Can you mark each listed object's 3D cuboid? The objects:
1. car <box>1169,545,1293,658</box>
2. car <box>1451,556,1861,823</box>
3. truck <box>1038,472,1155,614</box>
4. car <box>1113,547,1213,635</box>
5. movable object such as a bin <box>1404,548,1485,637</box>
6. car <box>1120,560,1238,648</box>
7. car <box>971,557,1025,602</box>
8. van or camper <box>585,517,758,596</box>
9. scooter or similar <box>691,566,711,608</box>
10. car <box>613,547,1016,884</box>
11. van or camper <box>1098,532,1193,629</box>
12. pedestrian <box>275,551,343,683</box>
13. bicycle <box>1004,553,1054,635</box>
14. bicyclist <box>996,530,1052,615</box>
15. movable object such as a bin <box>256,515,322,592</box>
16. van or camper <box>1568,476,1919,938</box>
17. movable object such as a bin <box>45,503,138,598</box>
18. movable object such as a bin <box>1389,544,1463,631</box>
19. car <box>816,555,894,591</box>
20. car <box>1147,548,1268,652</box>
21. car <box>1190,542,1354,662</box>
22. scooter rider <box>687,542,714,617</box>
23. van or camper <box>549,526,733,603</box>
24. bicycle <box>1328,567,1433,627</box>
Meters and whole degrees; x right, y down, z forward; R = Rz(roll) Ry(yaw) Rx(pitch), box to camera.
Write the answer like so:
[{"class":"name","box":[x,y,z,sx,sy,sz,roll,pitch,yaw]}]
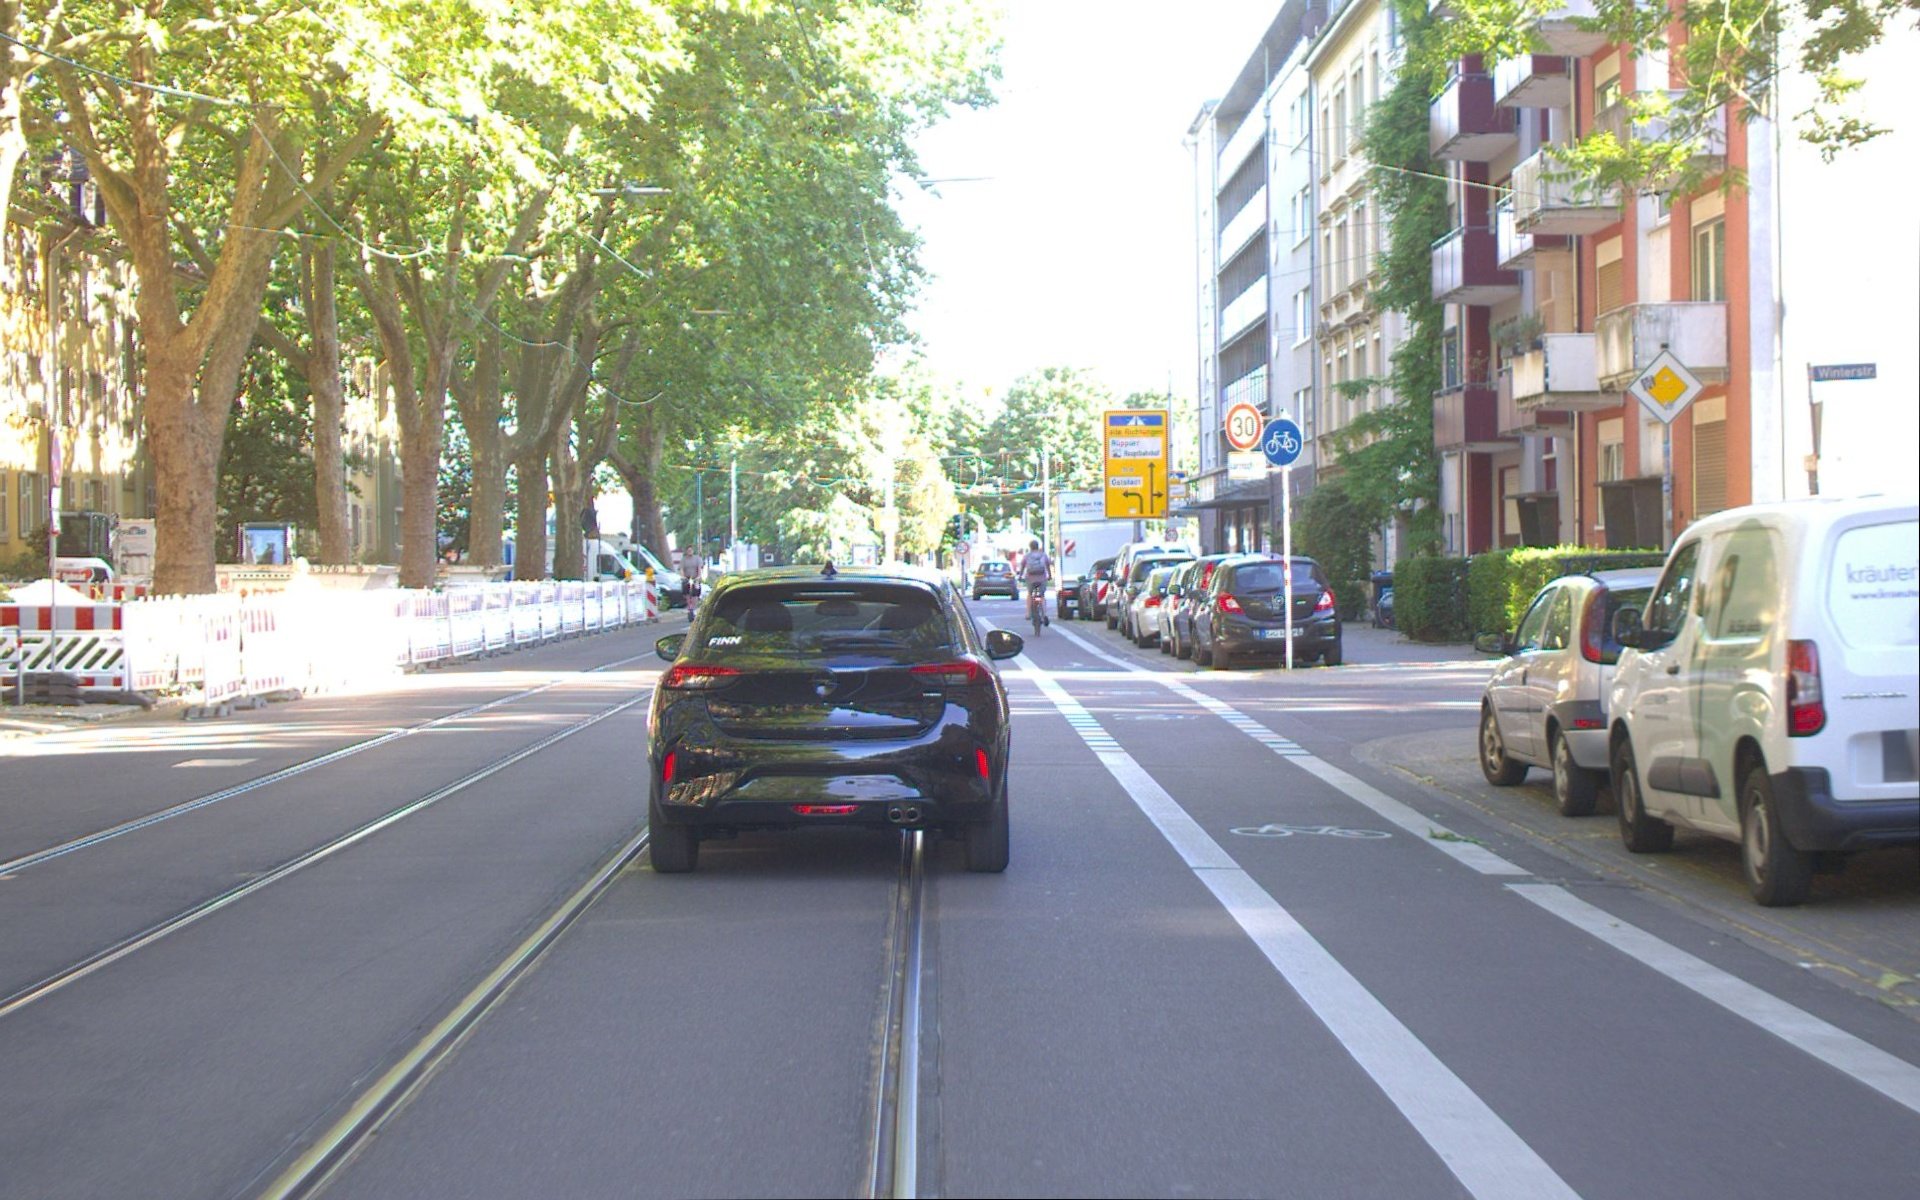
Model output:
[{"class":"car","box":[3.937,0.004,50.380,1.526,1.584,3.752,0,0,0]},{"class":"car","box":[4.243,0.483,21.536,1.705,1.468,4.000,-1,1,0]},{"class":"truck","box":[3.427,-1.430,87.786,2.538,3.327,7.195,-3,1,0]},{"class":"car","box":[3.834,-0.186,65.345,1.660,1.575,3.589,-2,1,0]},{"class":"movable object such as a bin","box":[7.297,-0.118,51.861,0.967,1.322,1.721,0,0,0]},{"class":"car","box":[3.806,0.043,60.468,1.659,1.394,4.740,-2,1,-1]},{"class":"car","box":[1.533,-0.863,139.266,1.993,1.690,4.740,-2,1,-1]},{"class":"van or camper","box":[-9.882,-1.496,118.063,5.724,2.635,2.269,0,0,0]},{"class":"scooter or similar","box":[-6.848,-0.347,90.802,0.407,1.079,1.338,0,0,0]},{"class":"car","box":[-0.669,0.482,17.224,1.781,1.491,4.000,0,1,-1]},{"class":"van or camper","box":[3.770,-0.415,70.442,1.669,1.876,4.211,-2,1,0]},{"class":"pedestrian","box":[-8.354,0.214,44.126,0.716,1.663,0.778,0,0,0]},{"class":"bicycle","box":[1.340,-0.134,67.549,0.916,1.555,3.405,0,1,0]},{"class":"bicyclist","box":[1.248,-0.540,67.425,1.089,1.641,1.400,0,1,0]},{"class":"movable object such as a bin","box":[-14.424,-0.994,73.923,1.097,1.640,1.560,0,0,0]},{"class":"van or camper","box":[4.219,0.381,16.298,1.755,1.858,4.831,-1,1,0]},{"class":"movable object such as a bin","box":[-17.340,-0.983,68.703,1.333,1.862,2.008,0,0,0]},{"class":"movable object such as a bin","box":[7.269,-0.199,53.697,0.923,1.322,1.681,0,0,0]},{"class":"car","box":[-5.412,-1.401,176.478,1.917,1.690,4.322,-3,1,-35]},{"class":"car","box":[3.905,-0.013,54.691,1.591,1.521,3.835,-3,0,0]},{"class":"car","box":[4.140,-0.007,46.095,1.733,1.457,3.916,-2,1,-1]},{"class":"scooter rider","box":[-6.841,-0.541,90.773,0.649,1.950,0.624,0,0,0]},{"class":"van or camper","box":[-10.048,-1.109,108.702,5.502,2.371,2.269,1,0,4]},{"class":"bicycle","box":[7.825,-0.052,64.031,1.894,1.026,0.476,-2,1,5]}]
